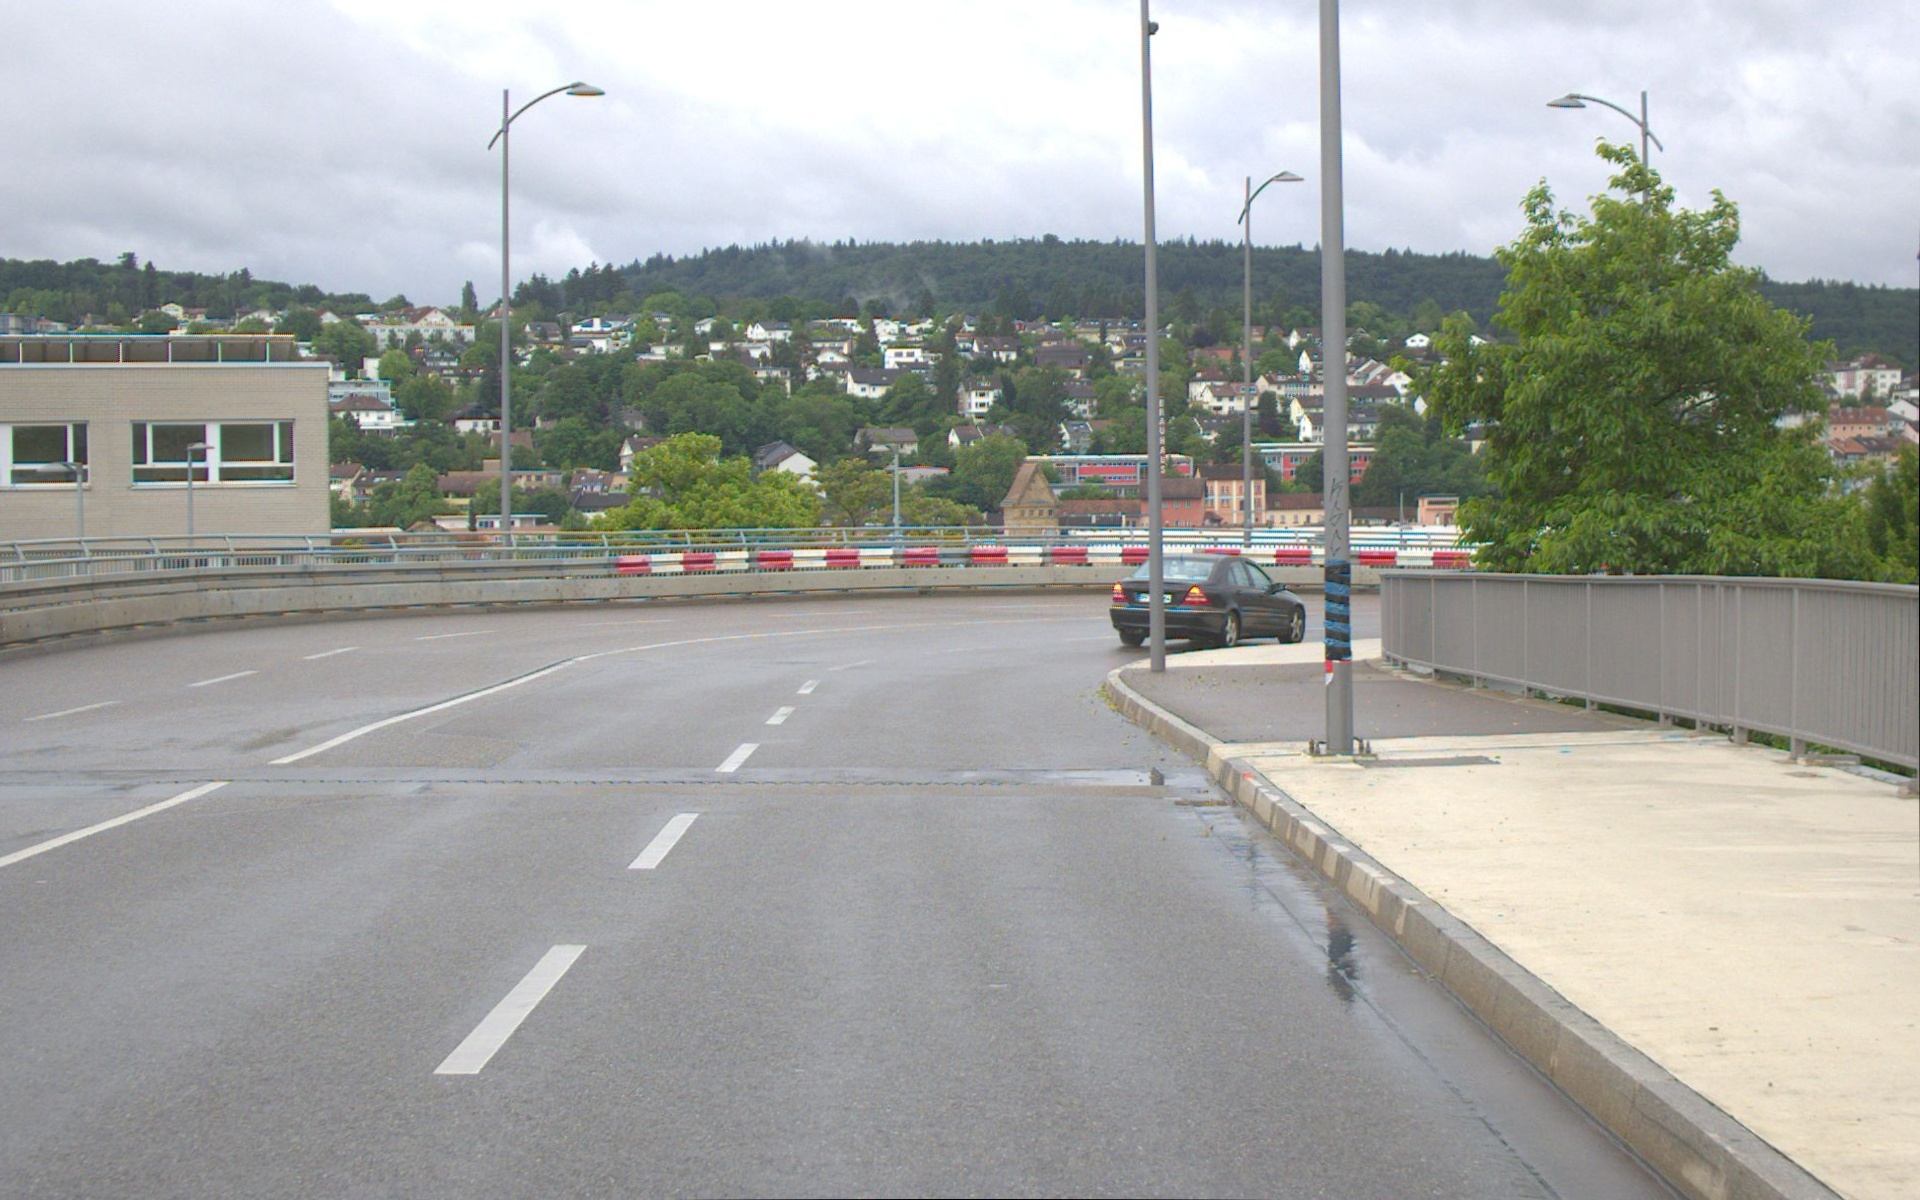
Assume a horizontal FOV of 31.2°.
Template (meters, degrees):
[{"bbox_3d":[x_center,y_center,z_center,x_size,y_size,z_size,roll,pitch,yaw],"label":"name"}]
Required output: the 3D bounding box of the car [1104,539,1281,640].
[{"bbox_3d":[3.490,-0.182,51.044,1.707,1.414,3.722,1,1,19],"label":"car"}]
